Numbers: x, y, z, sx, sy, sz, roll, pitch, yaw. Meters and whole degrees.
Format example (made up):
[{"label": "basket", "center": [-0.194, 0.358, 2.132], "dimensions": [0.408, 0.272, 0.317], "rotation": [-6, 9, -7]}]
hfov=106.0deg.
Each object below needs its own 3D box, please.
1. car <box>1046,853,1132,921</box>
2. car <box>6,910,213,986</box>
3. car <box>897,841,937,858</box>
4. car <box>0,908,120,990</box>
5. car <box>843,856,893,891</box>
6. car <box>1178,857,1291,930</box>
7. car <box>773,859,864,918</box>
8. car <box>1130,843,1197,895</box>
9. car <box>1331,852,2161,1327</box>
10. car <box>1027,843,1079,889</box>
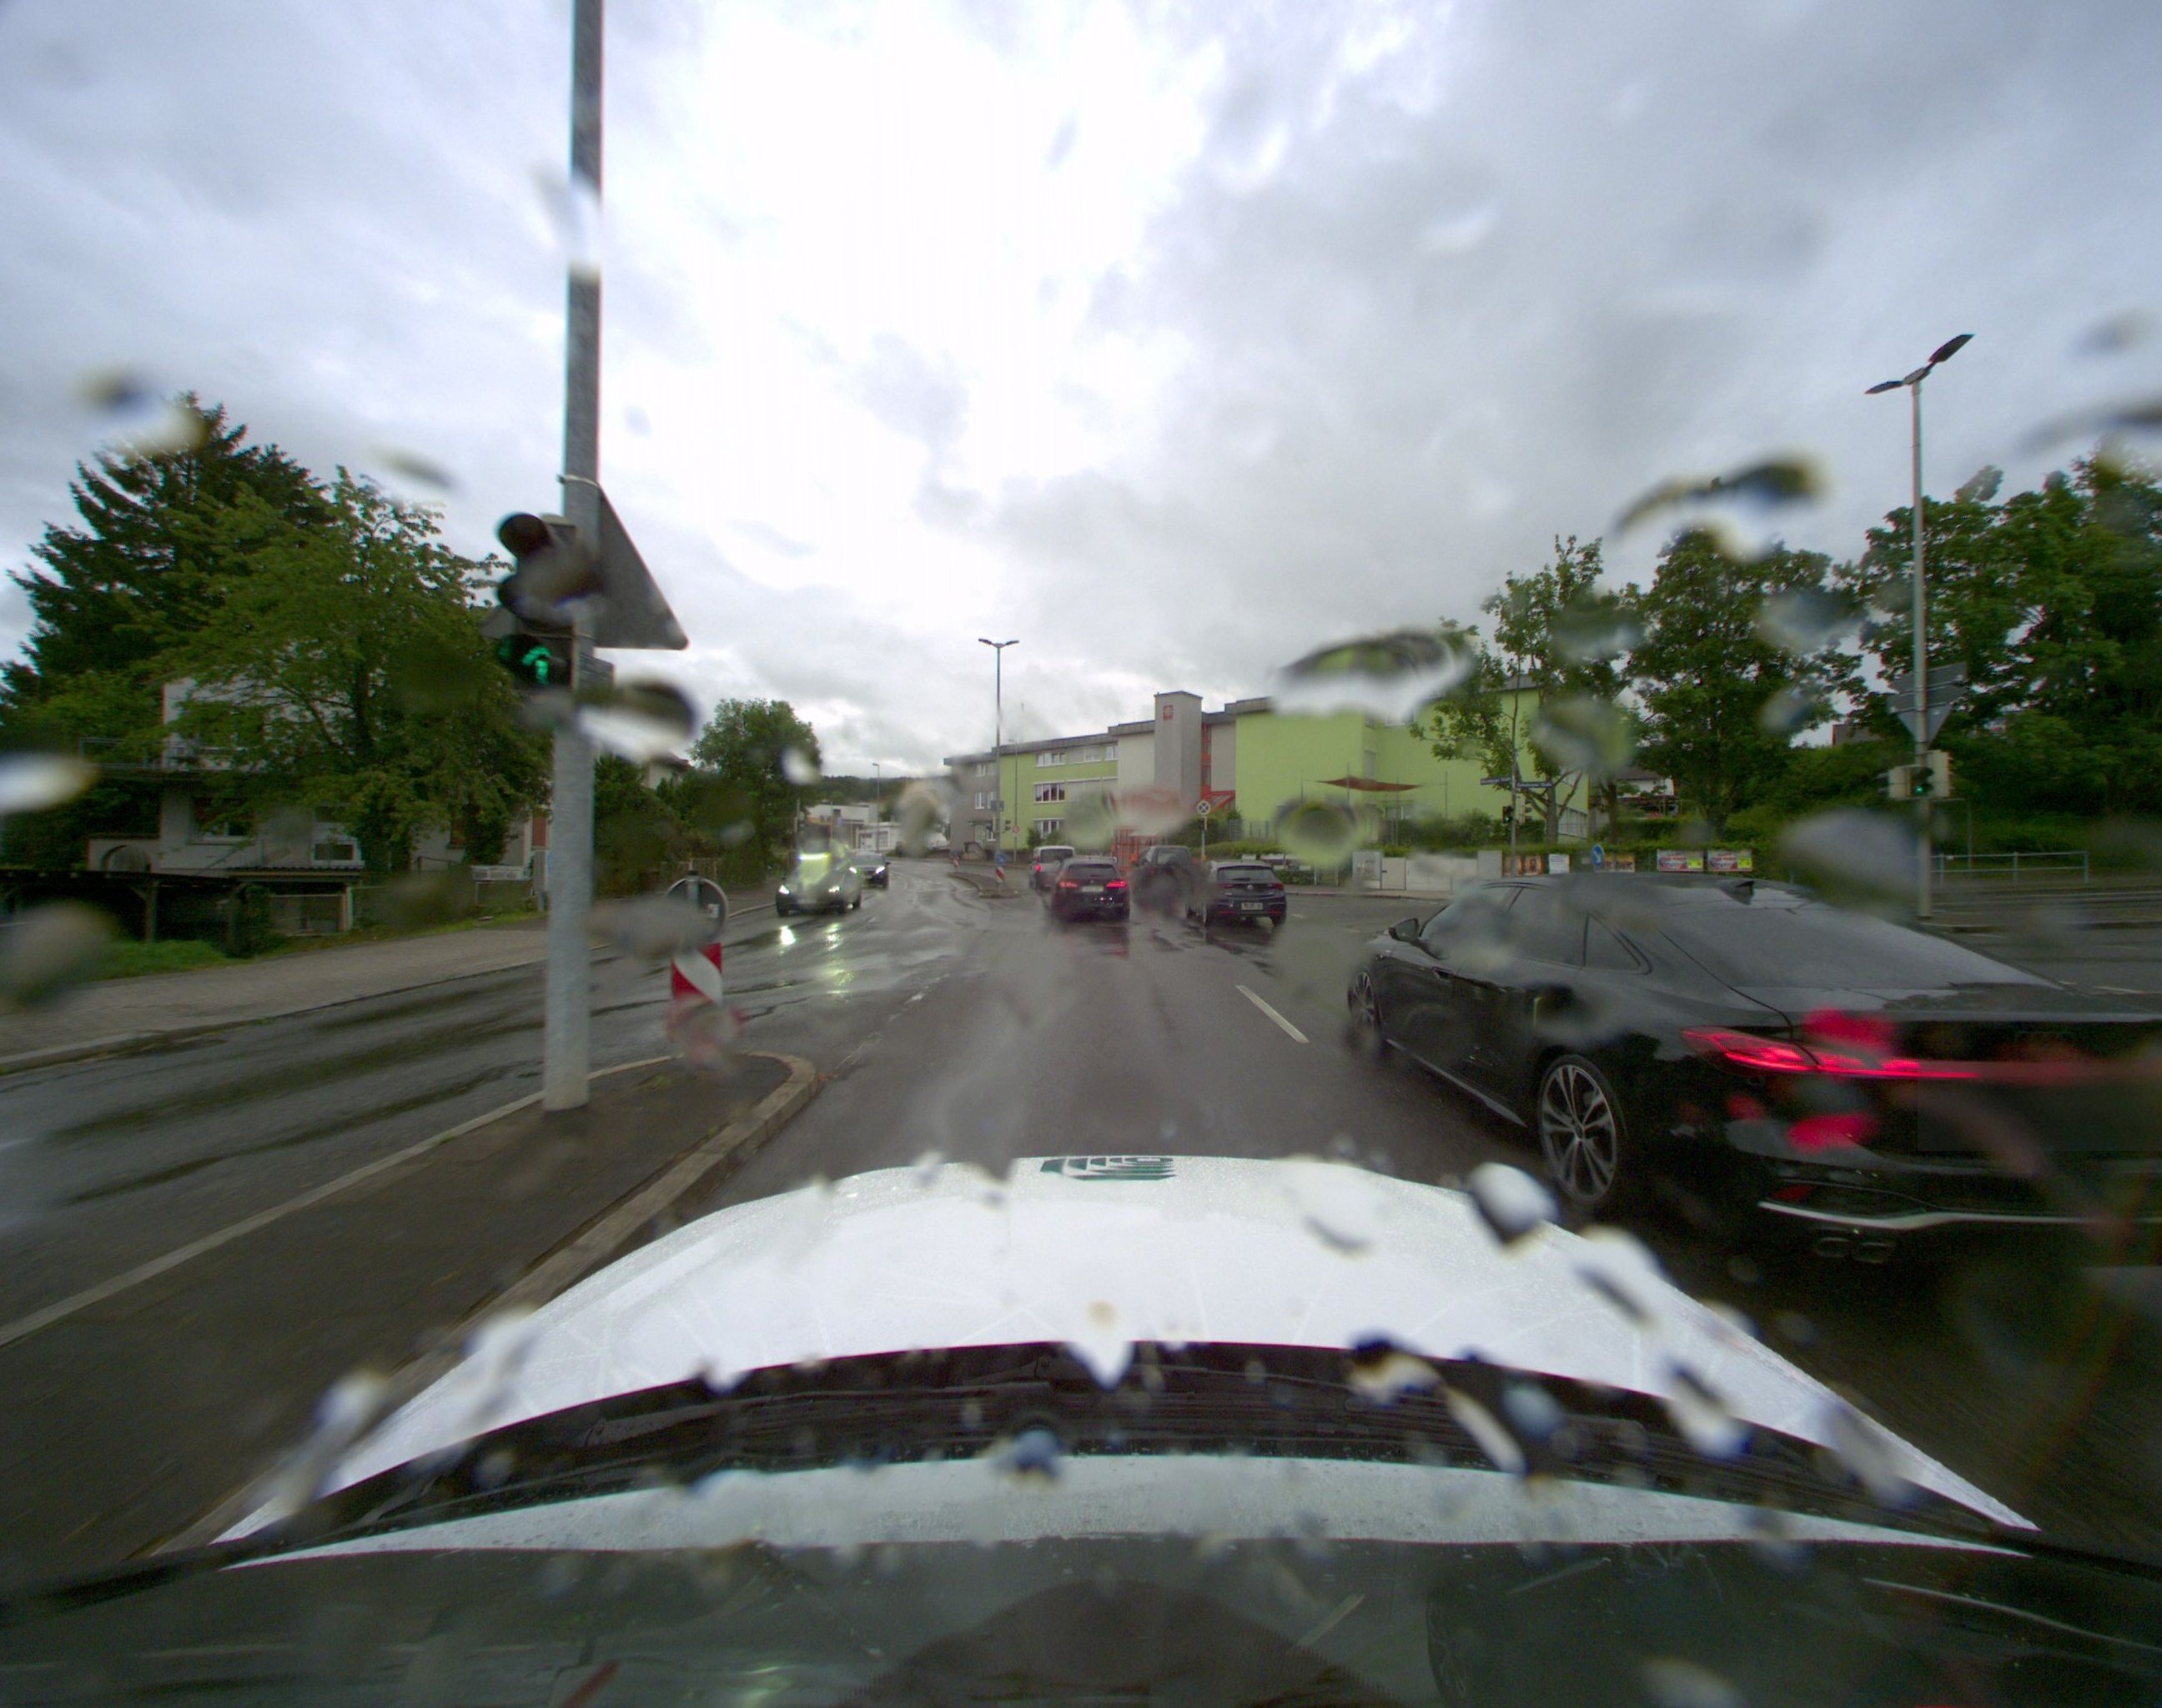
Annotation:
[{"label": "car", "center": [0.116, 0.749, 20.544], "dimensions": [1.681, 1.506, 3.764], "rotation": [-1, 0, -7]}, {"label": "car", "center": [-25.188, 2.367, 21.347], "dimensions": [1.803, 1.484, 3.968], "rotation": [-5, 0, -23]}, {"label": "car", "center": [-18.826, -0.560, 93.515], "dimensions": [4.401, 1.772, 1.991], "rotation": [-2, 0, -14]}, {"label": "car", "center": [-27.672, 2.477, 21.048], "dimensions": [1.801, 1.859, 3.973], "rotation": [-5, 0, -20]}, {"label": "car", "center": [-10.164, 0.890, 39.120], "dimensions": [1.848, 1.564, 3.989], "rotation": [-1, 0, -8]}, {"label": "car", "center": [3.486, 0.838, 19.292], "dimensions": [1.844, 1.486, 4.085], "rotation": [-1, 0, -1]}, {"label": "car", "center": [-7.560, 0.925, 23.801], "dimensions": [1.792, 1.489, 4.142], "rotation": [-2, 0, -8]}, {"label": "car", "center": [2.994, 0.502, 30.383], "dimensions": [1.780, 1.734, 4.081], "rotation": [-2, 1, -4]}, {"label": "car", "center": [2.964, 0.716, 4.745], "dimensions": [1.701, 1.427, 4.509], "rotation": [0, 0, 1]}, {"label": "car", "center": [-1.262, 0.474, 35.442], "dimensions": [1.717, 1.844, 4.073], "rotation": [-2, 1, -9]}]
